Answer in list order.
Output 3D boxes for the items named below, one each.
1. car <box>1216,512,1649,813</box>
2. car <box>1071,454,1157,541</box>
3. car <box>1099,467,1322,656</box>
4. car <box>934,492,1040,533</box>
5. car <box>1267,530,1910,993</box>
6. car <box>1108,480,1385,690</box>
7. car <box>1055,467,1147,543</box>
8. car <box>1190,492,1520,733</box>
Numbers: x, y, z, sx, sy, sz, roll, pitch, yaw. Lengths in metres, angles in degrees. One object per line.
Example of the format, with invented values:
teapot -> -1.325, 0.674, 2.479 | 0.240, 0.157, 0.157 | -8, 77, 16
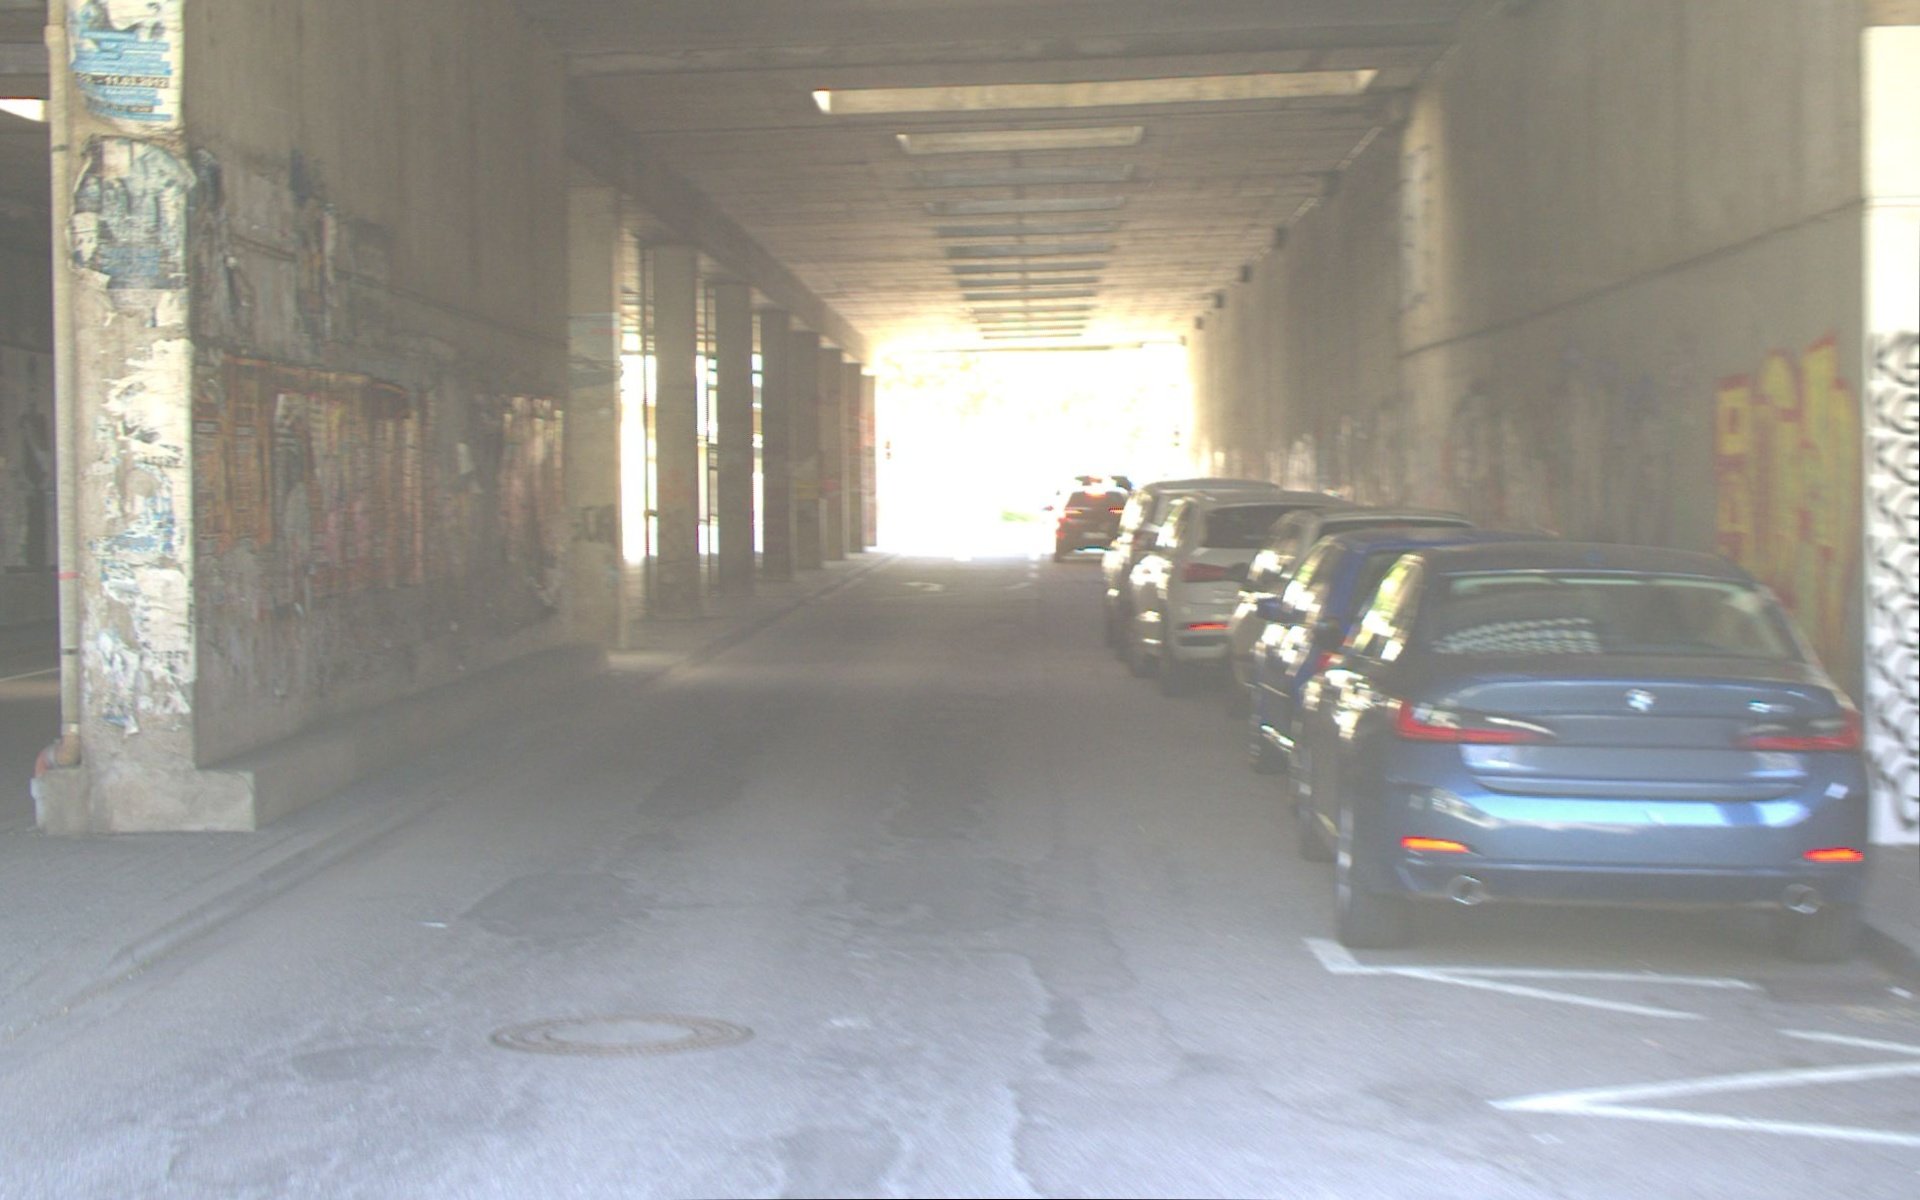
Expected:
car -> 2.393, 0.246, 18.338 | 1.761, 1.406, 4.063 | -1, 2, 0
car -> 3.432, -2.320, 77.195 | 1.815, 1.876, 4.586 | -1, 2, 1
car -> 2.328, -0.432, 32.922 | 1.853, 1.660, 4.371 | 0, 3, 1
car -> 1.063, -3.418, 134.233 | 3.988, 1.568, 1.639 | 0, 2, 6
car -> 2.237, 0.473, 13.449 | 1.851, 1.428, 4.607 | 1, 2, 3
car -> 2.213, -0.166, 27.538 | 1.729, 1.540, 4.156 | -1, 2, -2
car -> 2.891, -1.970, 70.678 | 1.826, 1.495, 4.211 | 0, 2, 2
car -> 2.580, 0.026, 23.198 | 1.603, 1.482, 3.639 | -1, 2, -3
